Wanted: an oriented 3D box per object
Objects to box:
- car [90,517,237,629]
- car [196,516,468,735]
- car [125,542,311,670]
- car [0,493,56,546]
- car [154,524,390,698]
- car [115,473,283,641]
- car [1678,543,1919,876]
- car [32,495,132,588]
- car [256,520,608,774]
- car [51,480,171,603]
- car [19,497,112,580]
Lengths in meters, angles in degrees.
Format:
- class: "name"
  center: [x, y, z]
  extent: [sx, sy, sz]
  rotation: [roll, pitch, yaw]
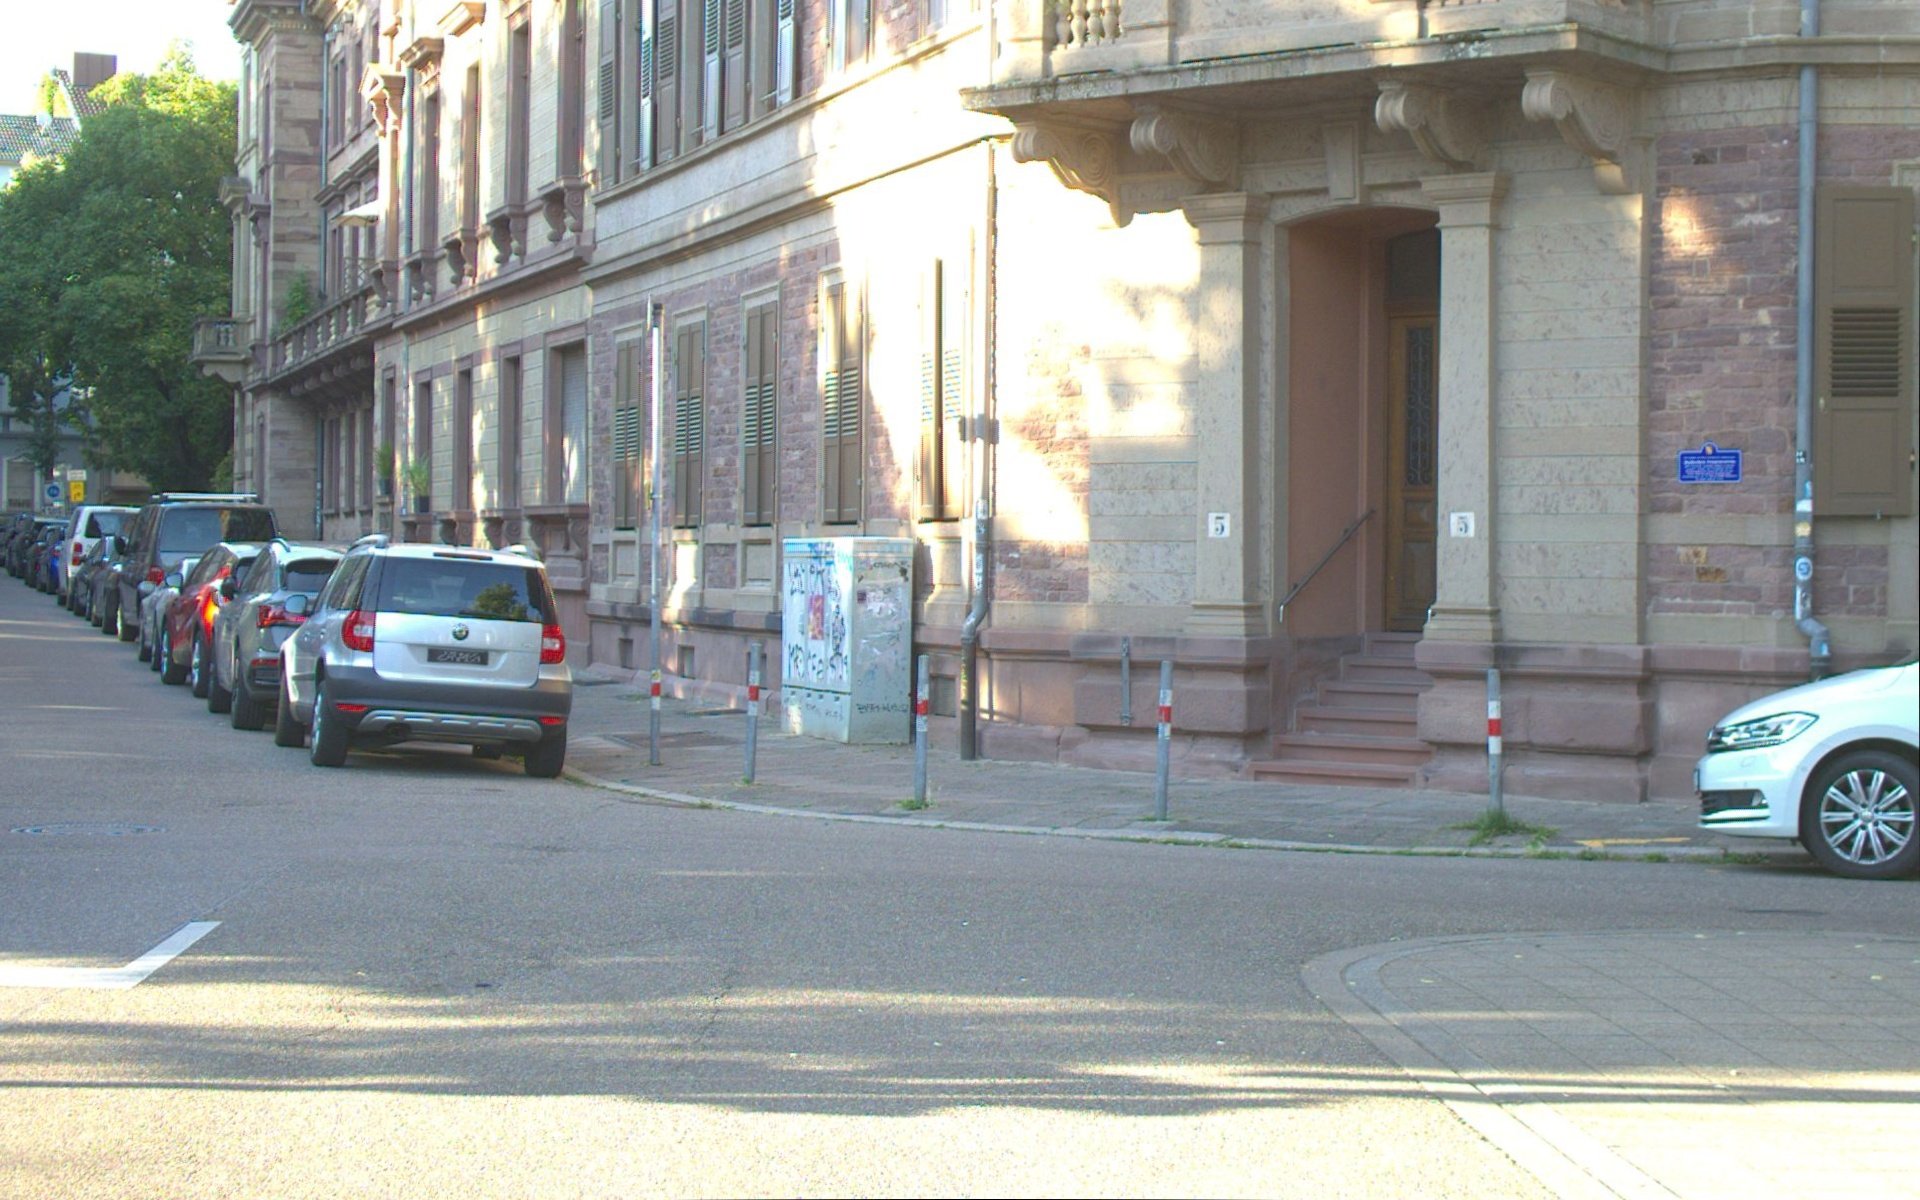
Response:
- class: "car"
  center: [-12.009, -0.436, 51.685]
  extent: [1.797, 1.518, 3.956]
  rotation: [3, 0, -17]
- class: "car"
  center: [-5.697, 0.174, 30.772]
  extent: [1.825, 1.718, 4.545]
  rotation: [4, 0, -16]
- class: "car"
  center: [-8.957, 0.043, 41.302]
  extent: [1.797, 1.341, 3.956]
  rotation: [3, 0, -17]
- class: "car"
  center: [-33.250, -2.835, 121.404]
  extent: [1.993, 1.678, 4.001]
  rotation: [2, -1, -22]
- class: "car"
  center: [-7.201, 0.076, 35.722]
  extent: [1.797, 1.608, 3.956]
  rotation: [3, 0, -19]
- class: "car"
  center: [-10.291, -0.595, 46.334]
  extent: [1.797, 2.065, 3.956]
  rotation: [3, 0, -17]
- class: "car"
  center: [6.071, 0.600, 17.850]
  extent: [4.485, 1.644, 1.874]
  rotation: [1, -2, 9]
- class: "car"
  center: [-18.774, -1.250, 73.450]
  extent: [1.797, 1.832, 3.956]
  rotation: [3, 0, -17]
- class: "car"
  center: [-4.066, 0.308, 25.917]
  extent: [1.915, 1.651, 4.188]
  rotation: [4, 0, -17]
- class: "car"
  center: [-15.456, -1.067, 62.466]
  extent: [1.797, 2.065, 3.956]
  rotation: [3, 0, -17]
- class: "car"
  center: [-20.416, -1.409, 78.388]
  extent: [1.797, 1.722, 3.956]
  rotation: [3, 0, -17]
